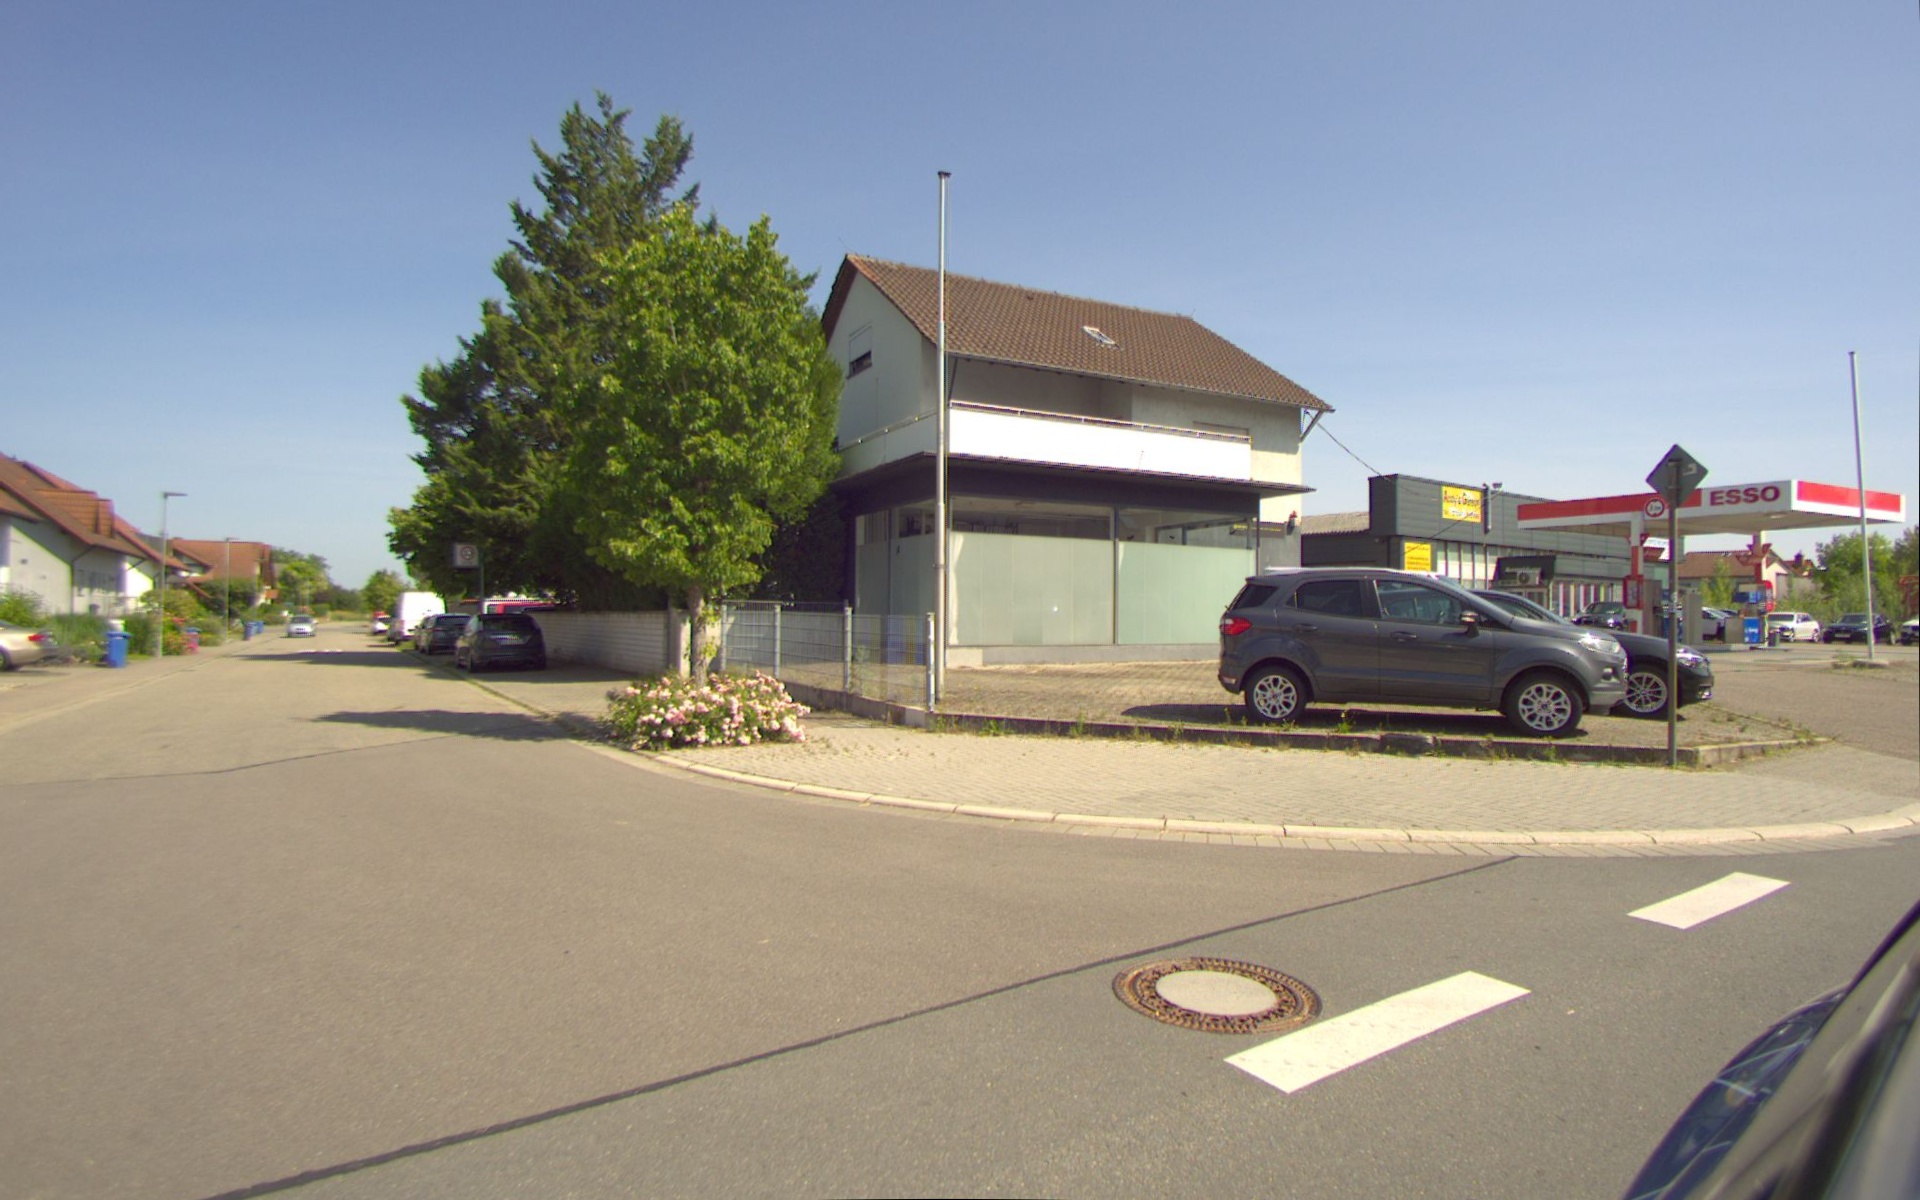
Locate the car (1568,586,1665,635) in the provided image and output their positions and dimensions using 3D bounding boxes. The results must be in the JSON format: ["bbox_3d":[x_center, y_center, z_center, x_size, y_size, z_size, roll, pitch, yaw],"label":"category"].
[{"bbox_3d":[26.168,0.447,40.283,4.729,1.763,1.809,2,-2,-38],"label":"car"}]

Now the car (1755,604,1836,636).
[{"bbox_3d":[40.188,0.935,48.665,4.291,1.404,1.848,0,1,-34],"label":"car"}]

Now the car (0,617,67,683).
[{"bbox_3d":[-22.605,1.120,22.178,4.302,1.448,1.698,0,-2,-33],"label":"car"}]

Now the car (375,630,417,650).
[{"bbox_3d":[-32.946,2.324,59.080,1.811,1.138,3.903,0,-2,-35],"label":"car"}]

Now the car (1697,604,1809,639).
[{"bbox_3d":[36.667,0.972,46.854,1.776,1.492,3.693,1,1,-31],"label":"car"}]

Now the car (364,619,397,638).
[{"bbox_3d":[-42.944,2.065,74.910,1.638,1.216,3.813,1,1,-37],"label":"car"}]

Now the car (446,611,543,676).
[{"bbox_3d":[-11.905,1.092,25.756,1.608,1.499,3.903,0,-2,-35],"label":"car"}]

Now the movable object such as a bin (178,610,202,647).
[{"bbox_3d":[-42.828,1.582,56.302,1.007,2.059,0.916,1,-2,-37],"label":"movable object such as a bin"}]

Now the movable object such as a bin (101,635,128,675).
[{"bbox_3d":[-21.868,1.417,26.168,0.454,0.992,0.388,1,-2,-30],"label":"movable object such as a bin"}]

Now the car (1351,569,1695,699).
[{"bbox_3d":[8.205,0.446,15.180,4.197,1.585,1.966,3,0,26],"label":"car"}]

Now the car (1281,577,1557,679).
[{"bbox_3d":[8.136,0.422,18.143,4.277,1.570,1.965,2,1,28],"label":"car"}]

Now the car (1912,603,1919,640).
[{"bbox_3d":[43.319,0.949,43.930,4.254,1.612,2.006,0,1,-34],"label":"car"}]

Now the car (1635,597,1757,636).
[{"bbox_3d":[33.684,0.732,46.433,1.776,1.654,4.158,1,1,-31],"label":"car"}]

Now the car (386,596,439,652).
[{"bbox_3d":[-26.532,1.106,49.003,1.811,2.568,3.904,1,0,-35],"label":"car"}]

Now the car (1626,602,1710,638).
[{"bbox_3d":[30.855,0.859,44.077,4.050,1.449,1.798,0,1,-37],"label":"car"}]

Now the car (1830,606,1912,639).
[{"bbox_3d":[41.521,0.992,46.100,3.922,1.404,1.848,0,1,-34],"label":"car"}]

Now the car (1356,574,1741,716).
[{"bbox_3d":[7.052,0.459,12.511,3.838,1.465,1.734,2,1,28],"label":"car"}]

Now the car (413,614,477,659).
[{"bbox_3d":[-19.093,1.345,37.444,1.608,1.558,3.903,0,-2,-35],"label":"car"}]

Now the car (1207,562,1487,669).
[{"bbox_3d":[8.248,0.234,21.830,5.256,2.039,2.202,2,1,37],"label":"car"}]

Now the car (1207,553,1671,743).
[{"bbox_3d":[4.844,0.391,10.736,4.068,1.674,1.817,2,0,23],"label":"car"}]

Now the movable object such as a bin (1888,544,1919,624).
[{"bbox_3d":[53.193,-0.702,46.097,2.717,4.069,16.128,1,0,-28],"label":"movable object such as a bin"}]

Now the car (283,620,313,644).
[{"bbox_3d":[-45.766,2.198,69.901,1.608,1.557,3.904,0,0,-35],"label":"car"}]
